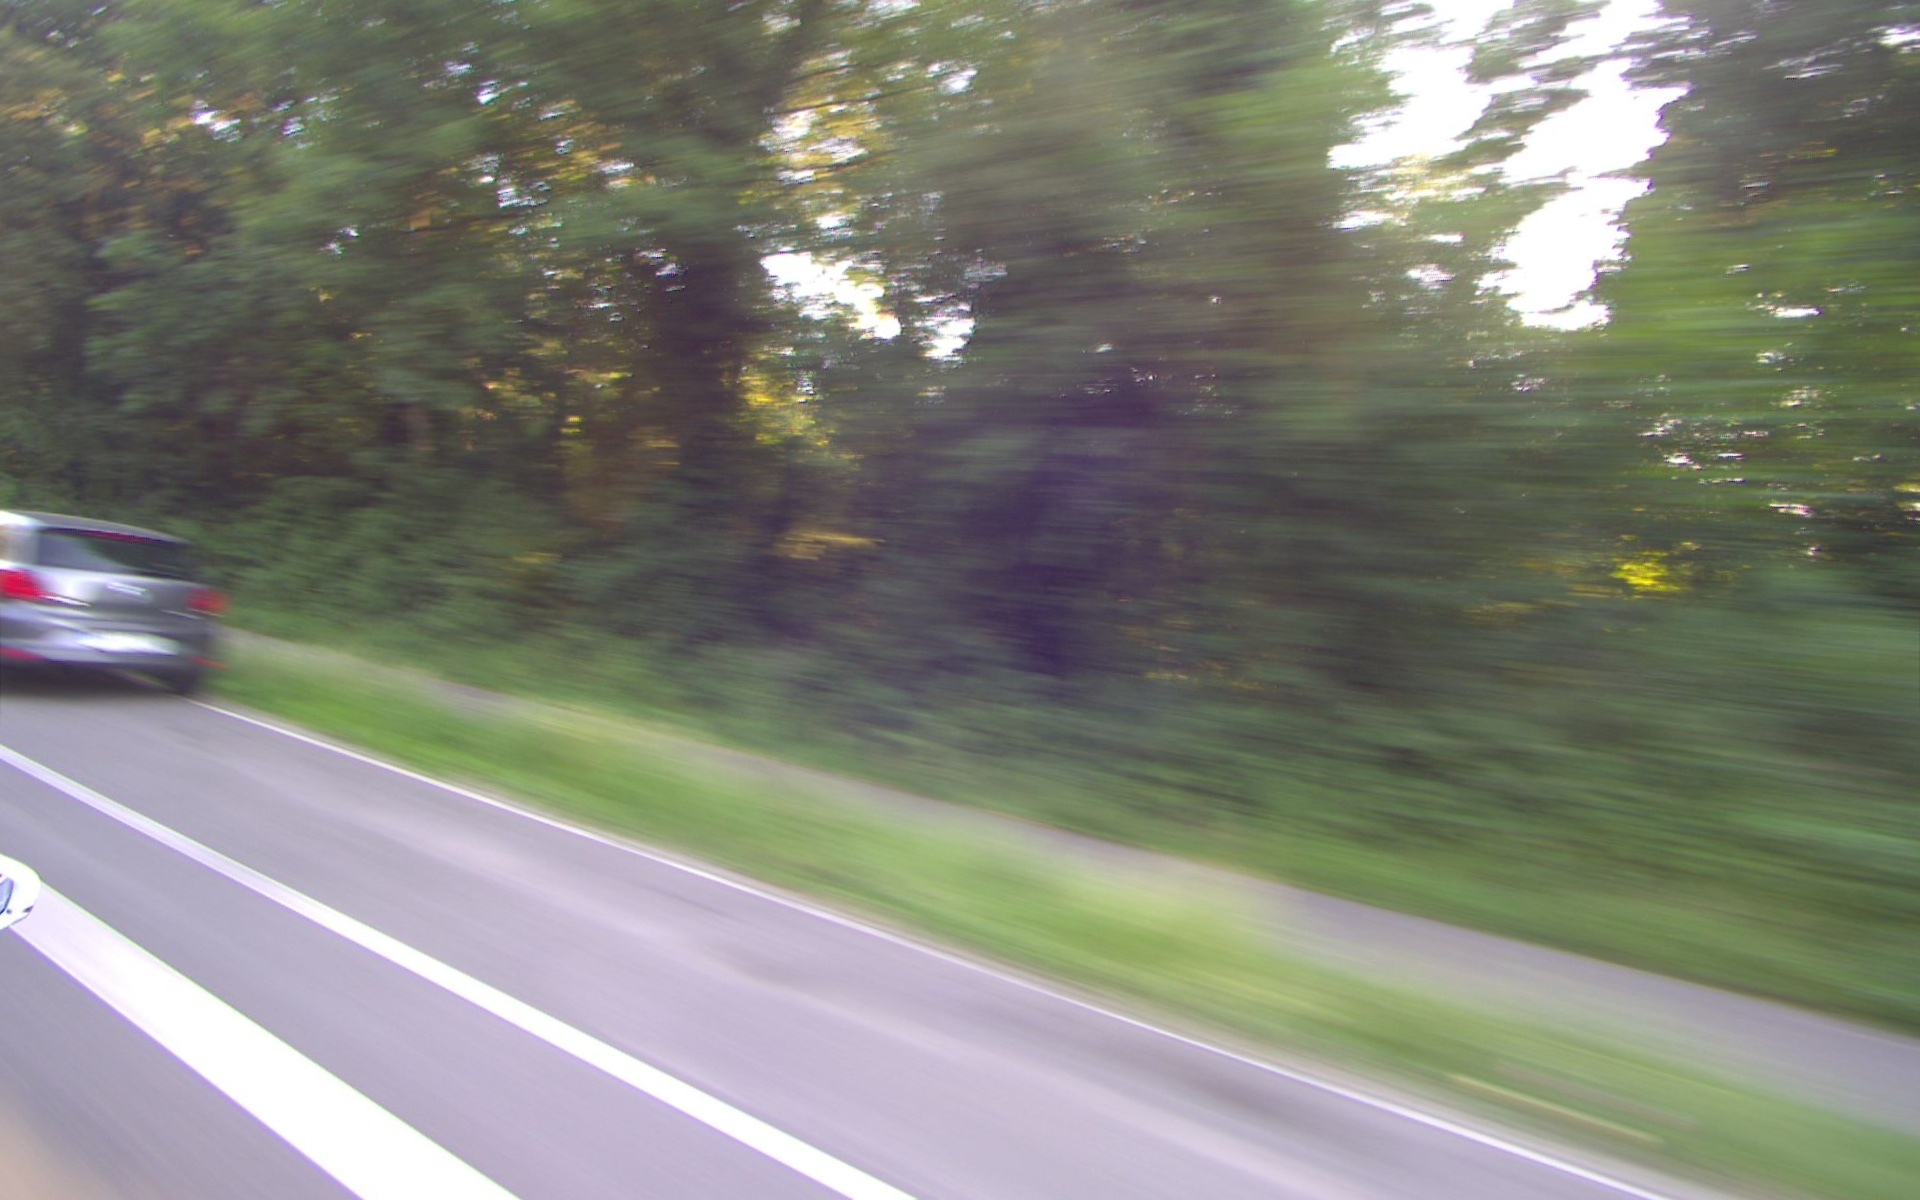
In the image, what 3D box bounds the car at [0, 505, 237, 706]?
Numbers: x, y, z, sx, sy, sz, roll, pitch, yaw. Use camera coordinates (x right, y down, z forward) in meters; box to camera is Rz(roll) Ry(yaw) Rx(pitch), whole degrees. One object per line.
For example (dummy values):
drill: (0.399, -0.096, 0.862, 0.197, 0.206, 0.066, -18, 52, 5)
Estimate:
car: (-8.407, -0.078, 9.042, 3.894, 1.464, 1.581, 6, 0, 31)
